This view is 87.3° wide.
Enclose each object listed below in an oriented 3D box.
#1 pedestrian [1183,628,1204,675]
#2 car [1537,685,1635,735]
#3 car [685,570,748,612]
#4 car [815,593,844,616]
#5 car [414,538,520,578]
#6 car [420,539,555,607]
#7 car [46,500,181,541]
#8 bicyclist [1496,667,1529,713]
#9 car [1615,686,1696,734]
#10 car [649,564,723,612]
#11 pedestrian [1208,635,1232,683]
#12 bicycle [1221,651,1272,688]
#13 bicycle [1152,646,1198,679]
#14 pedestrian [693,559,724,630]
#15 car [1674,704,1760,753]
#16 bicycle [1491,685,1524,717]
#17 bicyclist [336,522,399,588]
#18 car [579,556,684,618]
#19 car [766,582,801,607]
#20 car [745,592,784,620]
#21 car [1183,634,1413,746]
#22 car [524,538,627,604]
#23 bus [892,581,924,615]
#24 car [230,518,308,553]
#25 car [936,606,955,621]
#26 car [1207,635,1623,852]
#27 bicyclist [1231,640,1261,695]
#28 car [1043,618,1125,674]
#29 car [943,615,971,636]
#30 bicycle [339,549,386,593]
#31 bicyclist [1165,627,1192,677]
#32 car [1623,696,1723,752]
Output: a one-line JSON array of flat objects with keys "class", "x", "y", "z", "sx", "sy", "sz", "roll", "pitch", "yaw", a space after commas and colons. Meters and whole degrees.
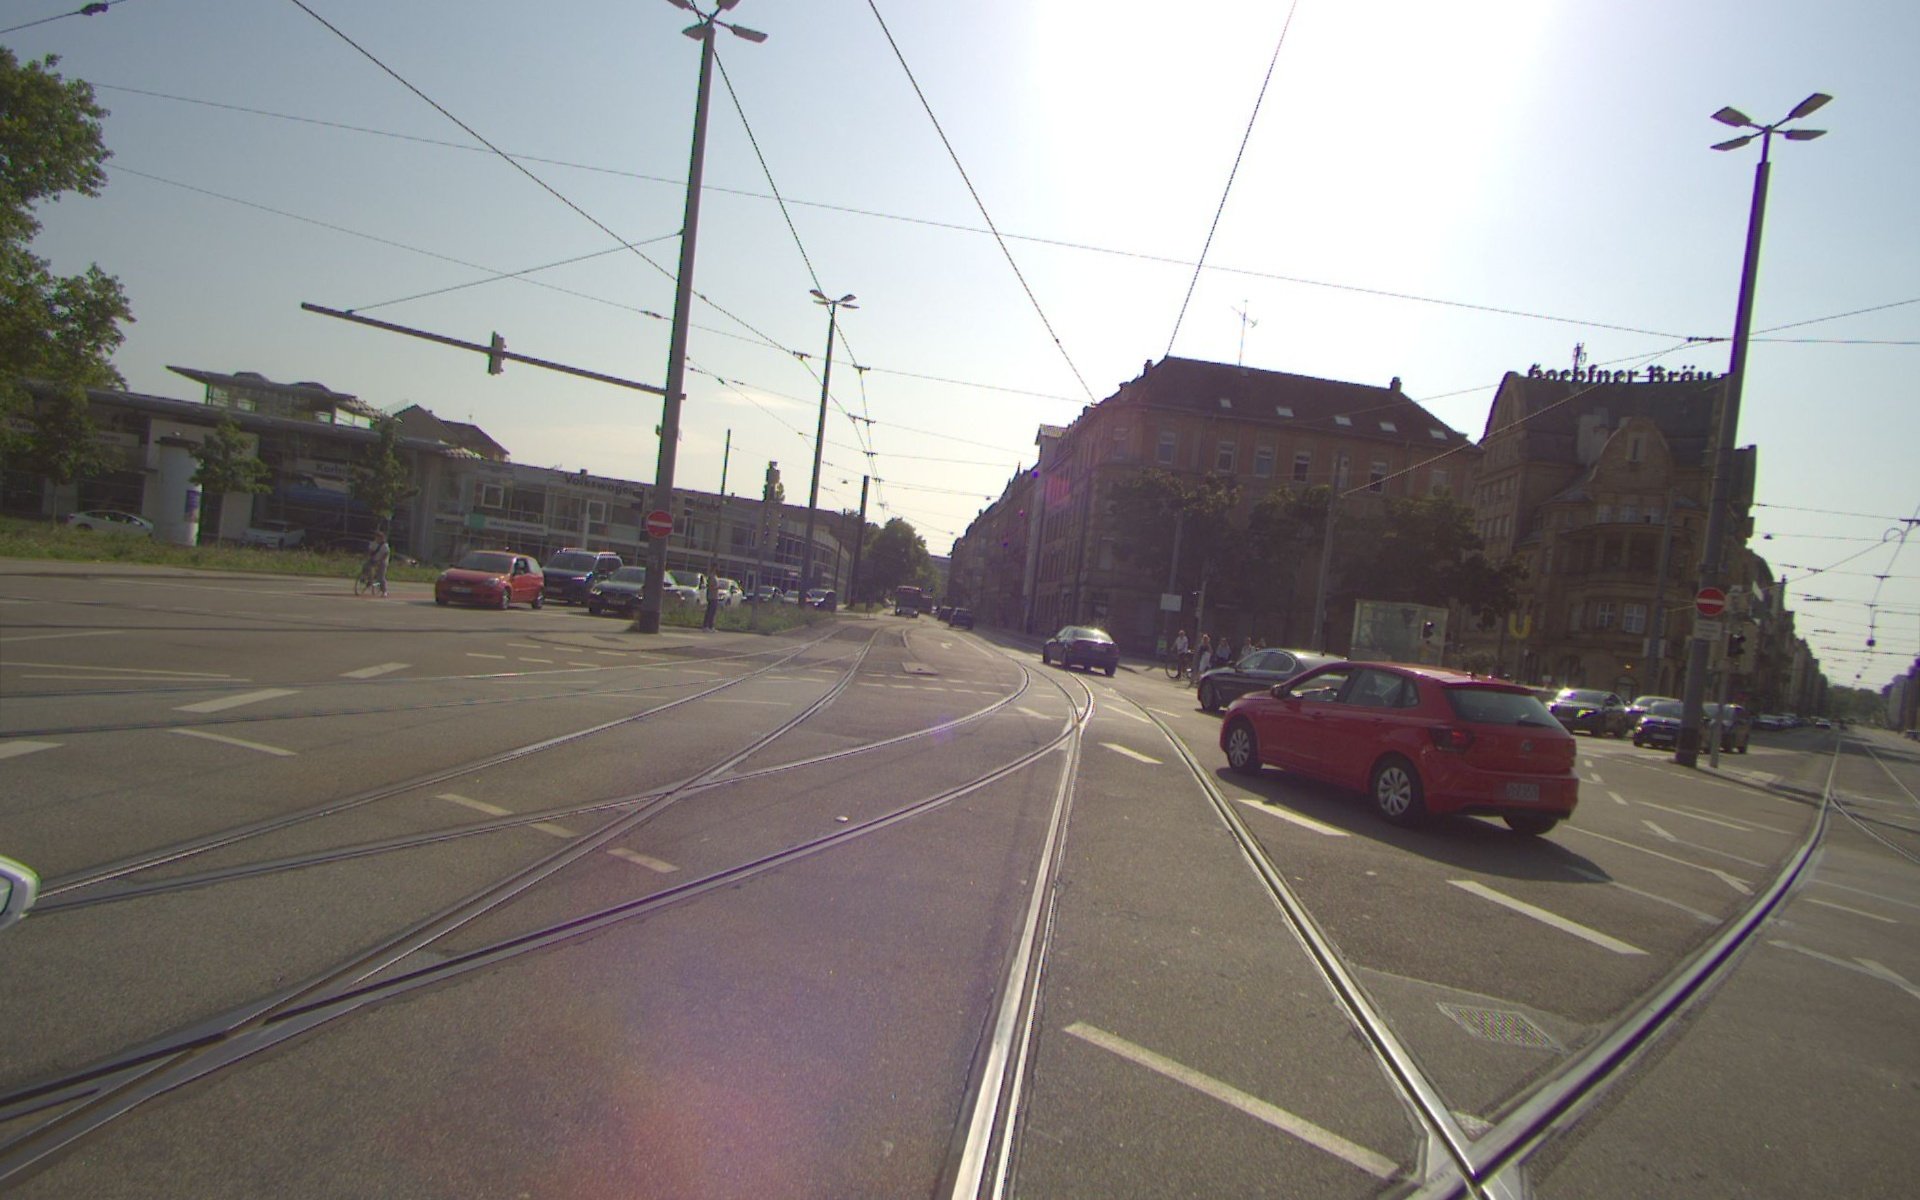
[{"class": "pedestrian", "x": 9.022, "y": 1.993, "z": 38.865, "sx": 0.496, "sy": 1.747, "sz": 0.624, "roll": 7, "pitch": 0, "yaw": 7}, {"class": "car", "x": 22.012, "y": 3.881, "z": 35.308, "sx": 3.975, "sy": 1.393, "sz": 1.903, "roll": 8, "pitch": 0, "yaw": -44}, {"class": "car", "x": -10.087, "y": -0.368, "z": 41.887, "sx": 1.771, "sy": 1.433, "sz": 3.997, "roll": 7, "pitch": 0, "yaw": -4}, {"class": "car", "x": -9.716, "y": 0.337, "z": 75.251, "sx": 1.771, "sy": 1.433, "sz": 3.997, "roll": 7, "pitch": 0, "yaw": -4}, {"class": "car", "x": -24.910, "y": -2.122, "z": 50.914, "sx": 4.314, "sy": 1.387, "sz": 2.001, "roll": 7, "pitch": 0, "yaw": 7}, {"class": "car", "x": -12.299, "y": -0.659, "z": 26.488, "sx": 1.771, "sy": 1.433, "sz": 3.997, "roll": 7, "pitch": 0, "yaw": -4}, {"class": "car", "x": -39.663, "y": -3.695, "z": 47.254, "sx": 4.335, "sy": 1.180, "sz": 1.991, "roll": 7, "pitch": 0, "yaw": -19}, {"class": "bicyclist", "x": 21.076, "y": 3.426, "z": 38.358, "sx": 0.912, "sy": 1.657, "sz": 0.655, "roll": 6, "pitch": 1, "yaw": -42}, {"class": "car", "x": 29.219, "y": 4.627, "z": 42.238, "sx": 3.975, "sy": 1.656, "sz": 1.903, "roll": 7, "pitch": 0, "yaw": -44}, {"class": "car", "x": -9.837, "y": -0.418, "z": 36.317, "sx": 1.771, "sy": 1.453, "sz": 3.554, "roll": 7, "pitch": 0, "yaw": -4}, {"class": "pedestrian", "x": 9.407, "y": 2.121, "z": 36.384, "sx": 0.497, "sy": 1.661, "sz": 0.523, "roll": 7, "pitch": 0, "yaw": -8}, {"class": "bicycle", "x": 9.600, "y": 2.335, "z": 33.699, "sx": 1.501, "sy": 1.037, "sz": 0.433, "roll": 7, "pitch": 1, "yaw": -9}, {"class": "bicycle", "x": 7.941, "y": 2.299, "z": 37.132, "sx": 1.501, "sy": 1.037, "sz": 0.433, "roll": 7, "pitch": 0, "yaw": -11}, {"class": "pedestrian", "x": -6.451, "y": -0.136, "z": 25.810, "sx": 0.517, "sy": 1.751, "sz": 0.597, "roll": 7, "pitch": 0, "yaw": -9}, {"class": "car", "x": 26.075, "y": 4.416, "z": 34.610, "sx": 3.975, "sy": 1.343, "sz": 1.672, "roll": 8, "pitch": 0, "yaw": -44}, {"class": "bicycle", "x": 20.932, "y": 3.872, "z": 38.431, "sx": 1.915, "sy": 1.103, "sz": 0.396, "roll": 7, "pitch": 0, "yaw": -42}, {"class": "bicyclist", "x": -14.898, "y": -1.120, "z": 25.343, "sx": 1.072, "sy": 1.493, "sz": 0.967, "roll": 7, "pitch": 1, "yaw": -21}, {"class": "car", "x": -9.530, "y": -0.355, "z": 29.519, "sx": 1.771, "sy": 1.469, "sz": 4.347, "roll": 7, "pitch": 0, "yaw": -4}, {"class": "car", "x": -12.121, "y": -0.392, "z": 69.311, "sx": 1.771, "sy": 1.433, "sz": 3.997, "roll": 7, "pitch": 0, "yaw": -4}, {"class": "car", "x": -12.256, "y": 0.359, "z": 63.228, "sx": 1.771, "sy": 1.433, "sz": 3.997, "roll": 7, "pitch": 0, "yaw": -4}, {"class": "car", "x": 6.331, "y": 1.635, "z": 19.544, "sx": 1.885, "sy": 1.493, "sz": 4.729, "roll": 7, "pitch": 0, "yaw": -13}, {"class": "car", "x": -12.875, "y": -0.916, "z": 34.006, "sx": 1.771, "sy": 1.850, "sz": 4.770, "roll": 7, "pitch": 0, "yaw": -4}, {"class": "bus", "x": -5.461, "y": -0.195, "z": 107.147, "sx": 2.845, "sy": 3.020, "sz": 11.492, "roll": 7, "pitch": 0, "yaw": -2}, {"class": "car", "x": -39.661, "y": -3.681, "z": 57.840, "sx": 1.967, "sy": 1.480, "sz": 4.316, "roll": 7, "pitch": -1, "yaw": -10}, {"class": "car", "x": -1.599, "y": 1.433, "z": 110.965, "sx": 1.710, "sy": 1.366, "sz": 3.778, "roll": 7, "pitch": 0, "yaw": -4}, {"class": "car", "x": 4.361, "y": 1.311, "z": 10.341, "sx": 1.652, "sy": 1.465, "sz": 3.765, "roll": 8, "pitch": 0, "yaw": -18}, {"class": "bicyclist", "x": 9.551, "y": 2.252, "z": 33.644, "sx": 0.577, "sy": 1.751, "sz": 0.594, "roll": 7, "pitch": 0, "yaw": -8}, {"class": "car", "x": 4.066, "y": 1.499, "z": 33.635, "sx": 1.711, "sy": 1.478, "sz": 3.835, "roll": 7, "pitch": 0, "yaw": -7}, {"class": "car", "x": -0.259, "y": 2.004, "z": 81.168, "sx": 1.711, "sy": 1.366, "sz": 3.776, "roll": 7, "pitch": 0, "yaw": -7}, {"class": "bicycle", "x": -15.001, "y": -0.744, "z": 25.306, "sx": 0.521, "sy": 1.002, "sz": 2.187, "roll": 6, "pitch": 0, "yaw": -20}, {"class": "bicyclist", "x": 8.092, "y": 1.914, "z": 37.212, "sx": 0.577, "sy": 1.738, "sz": 0.646, "roll": 7, "pitch": 0, "yaw": -8}, {"class": "car", "x": 21.642, "y": 3.768, "z": 30.497, "sx": 3.975, "sy": 1.343, "sz": 1.672, "roll": 8, "pitch": 0, "yaw": -44}]
